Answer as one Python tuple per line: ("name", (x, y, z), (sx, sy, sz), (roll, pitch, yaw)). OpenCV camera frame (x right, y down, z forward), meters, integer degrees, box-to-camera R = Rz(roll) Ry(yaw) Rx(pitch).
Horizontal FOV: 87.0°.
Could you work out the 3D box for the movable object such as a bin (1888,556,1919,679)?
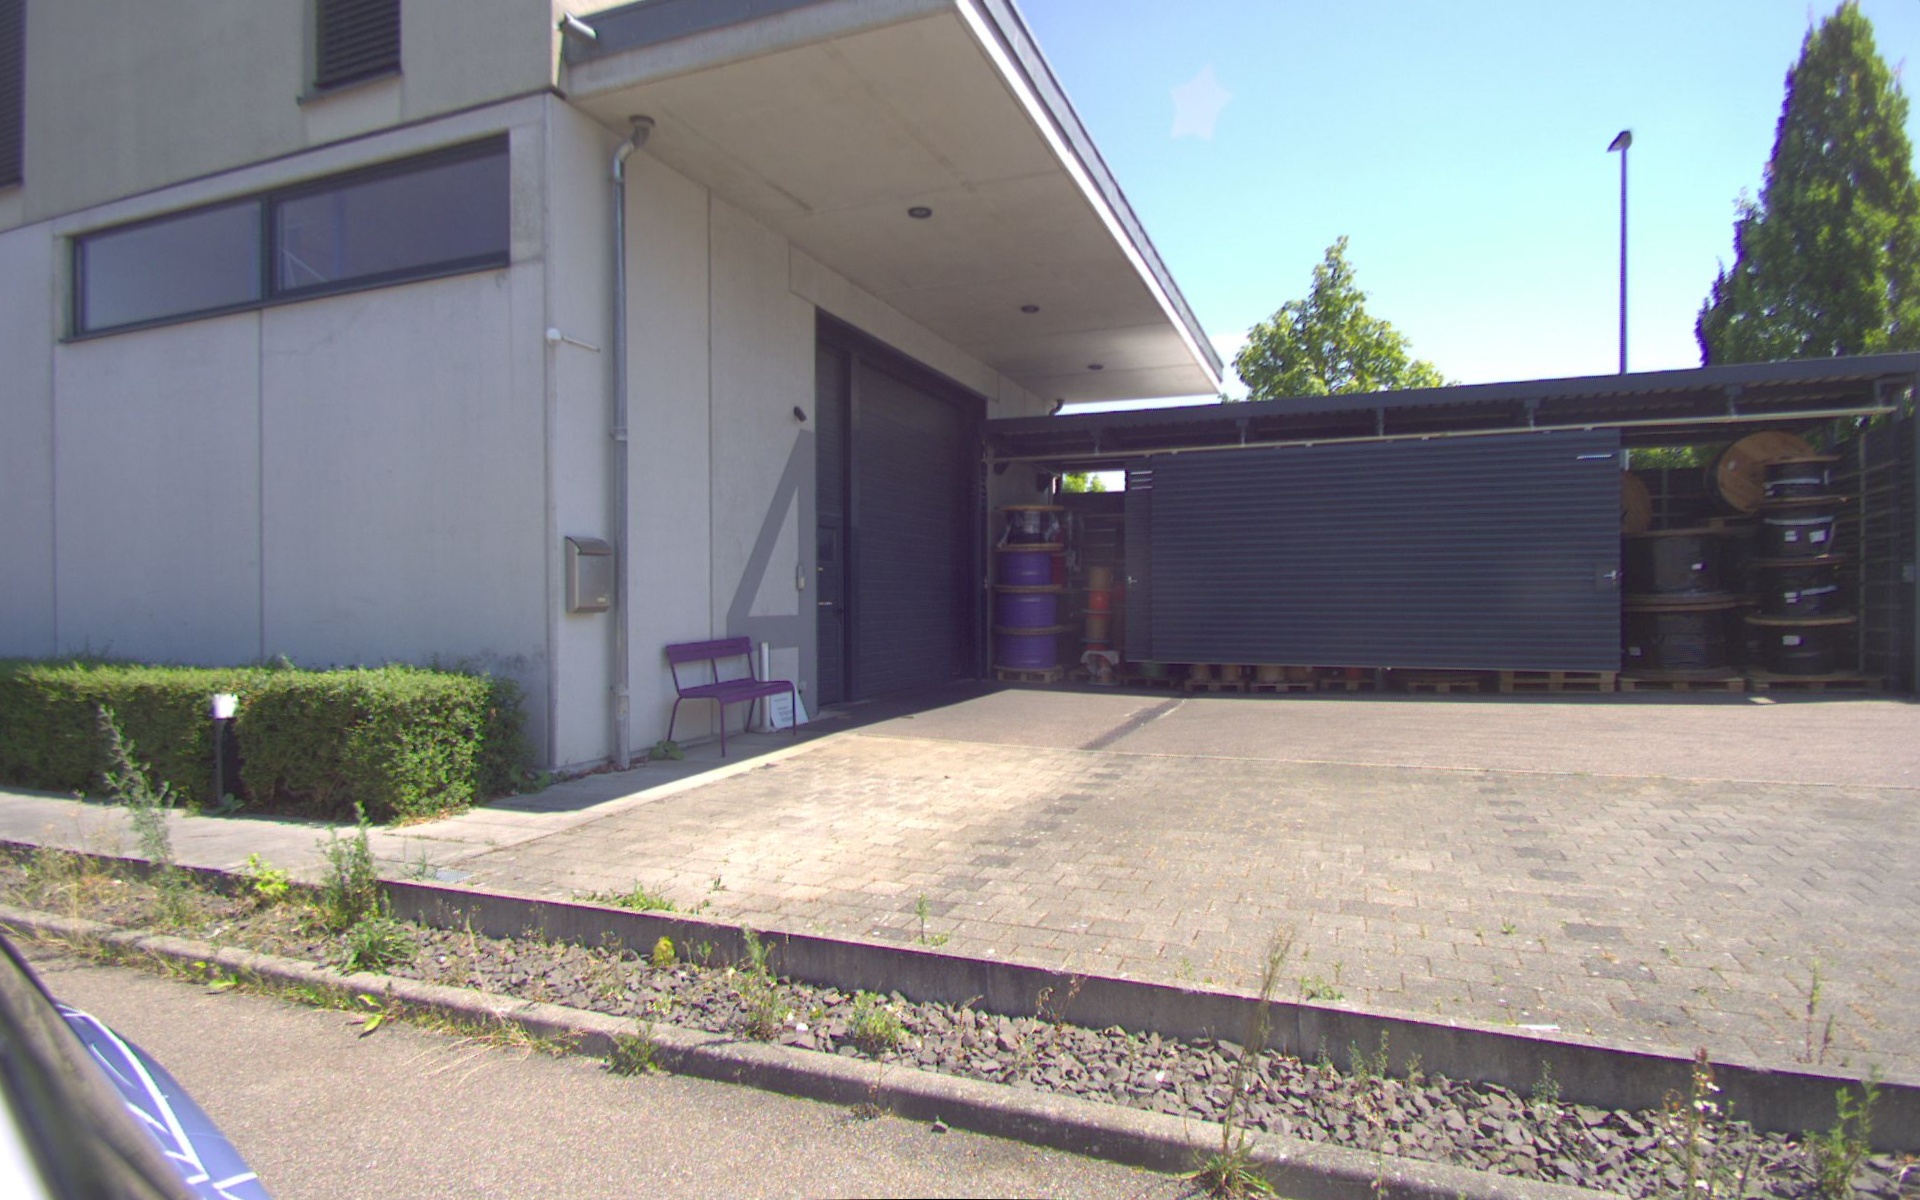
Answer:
("movable object such as a bin", (10.979, 0.177, 11.128), (0.968, 1.340, 0.703), (-1, 0, 27))
